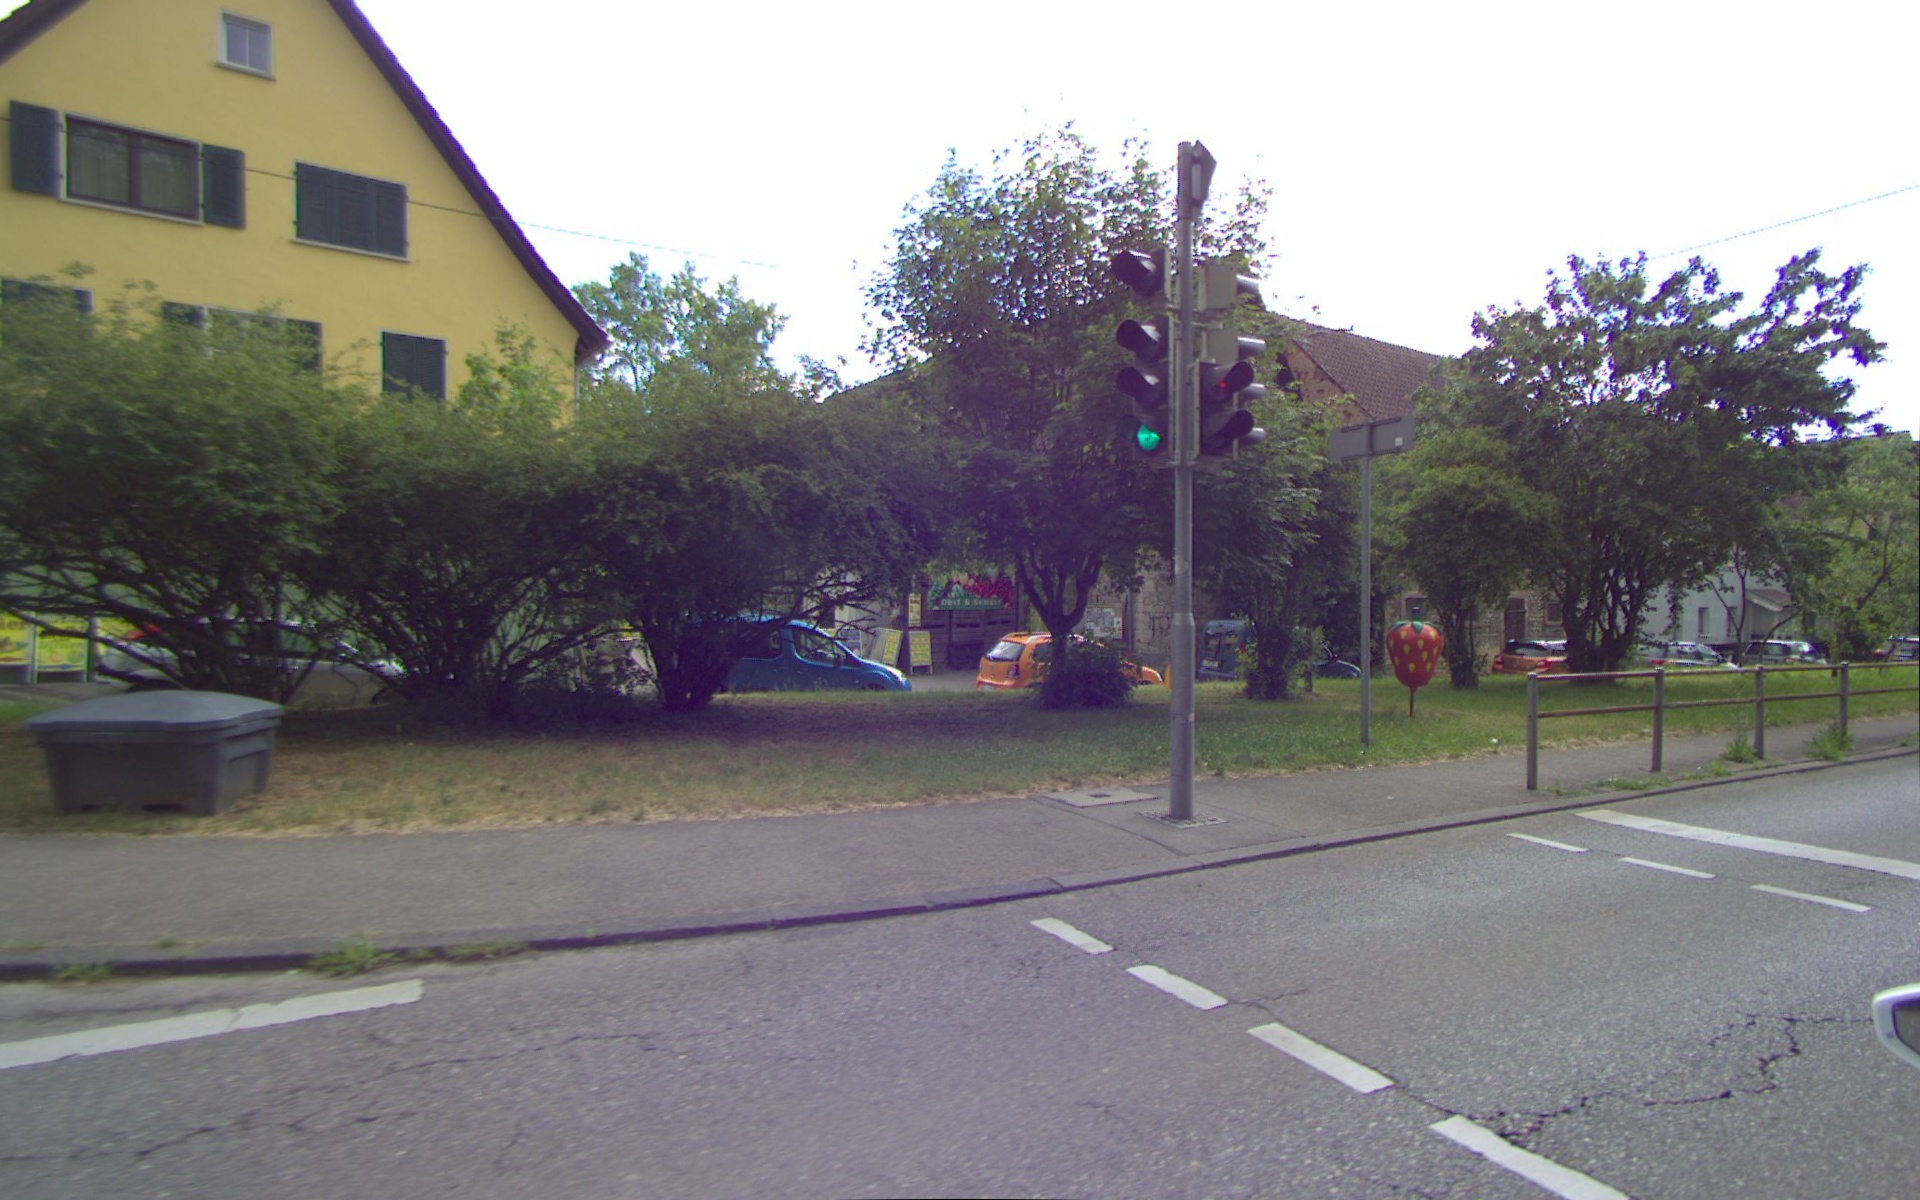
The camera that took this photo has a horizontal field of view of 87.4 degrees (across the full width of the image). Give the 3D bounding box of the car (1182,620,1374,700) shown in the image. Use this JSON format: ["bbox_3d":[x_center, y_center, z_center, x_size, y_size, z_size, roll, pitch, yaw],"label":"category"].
[{"bbox_3d":[7.036,1.282,22.198,3.949,1.639,1.805,1,-2,-28],"label":"car"}]

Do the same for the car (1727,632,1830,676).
[{"bbox_3d":[25.735,1.673,31.586,2.519,1.294,1.548,1,-2,-25],"label":"car"}]

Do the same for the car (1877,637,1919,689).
[{"bbox_3d":[33.848,2.137,34.614,3.945,1.717,1.916,1,-2,-25],"label":"car"}]

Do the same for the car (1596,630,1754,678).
[{"bbox_3d":[20.420,1.508,28.689,3.945,1.294,1.988,1,-2,-25],"label":"car"}]

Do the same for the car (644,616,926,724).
[{"bbox_3d":[-2.975,1.120,17.216,4.392,1.639,1.986,1,-2,-29],"label":"car"}]

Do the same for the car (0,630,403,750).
[{"bbox_3d":[-9.672,1.082,13.185,4.104,1.362,1.637,1,-2,-31],"label":"car"}]

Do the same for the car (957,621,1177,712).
[{"bbox_3d":[2.124,1.259,19.895,3.949,1.639,1.941,1,-2,-28],"label":"car"}]

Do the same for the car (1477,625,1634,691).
[{"bbox_3d":[15.816,1.496,26.668,3.949,1.639,1.805,1,-2,-28],"label":"car"}]
